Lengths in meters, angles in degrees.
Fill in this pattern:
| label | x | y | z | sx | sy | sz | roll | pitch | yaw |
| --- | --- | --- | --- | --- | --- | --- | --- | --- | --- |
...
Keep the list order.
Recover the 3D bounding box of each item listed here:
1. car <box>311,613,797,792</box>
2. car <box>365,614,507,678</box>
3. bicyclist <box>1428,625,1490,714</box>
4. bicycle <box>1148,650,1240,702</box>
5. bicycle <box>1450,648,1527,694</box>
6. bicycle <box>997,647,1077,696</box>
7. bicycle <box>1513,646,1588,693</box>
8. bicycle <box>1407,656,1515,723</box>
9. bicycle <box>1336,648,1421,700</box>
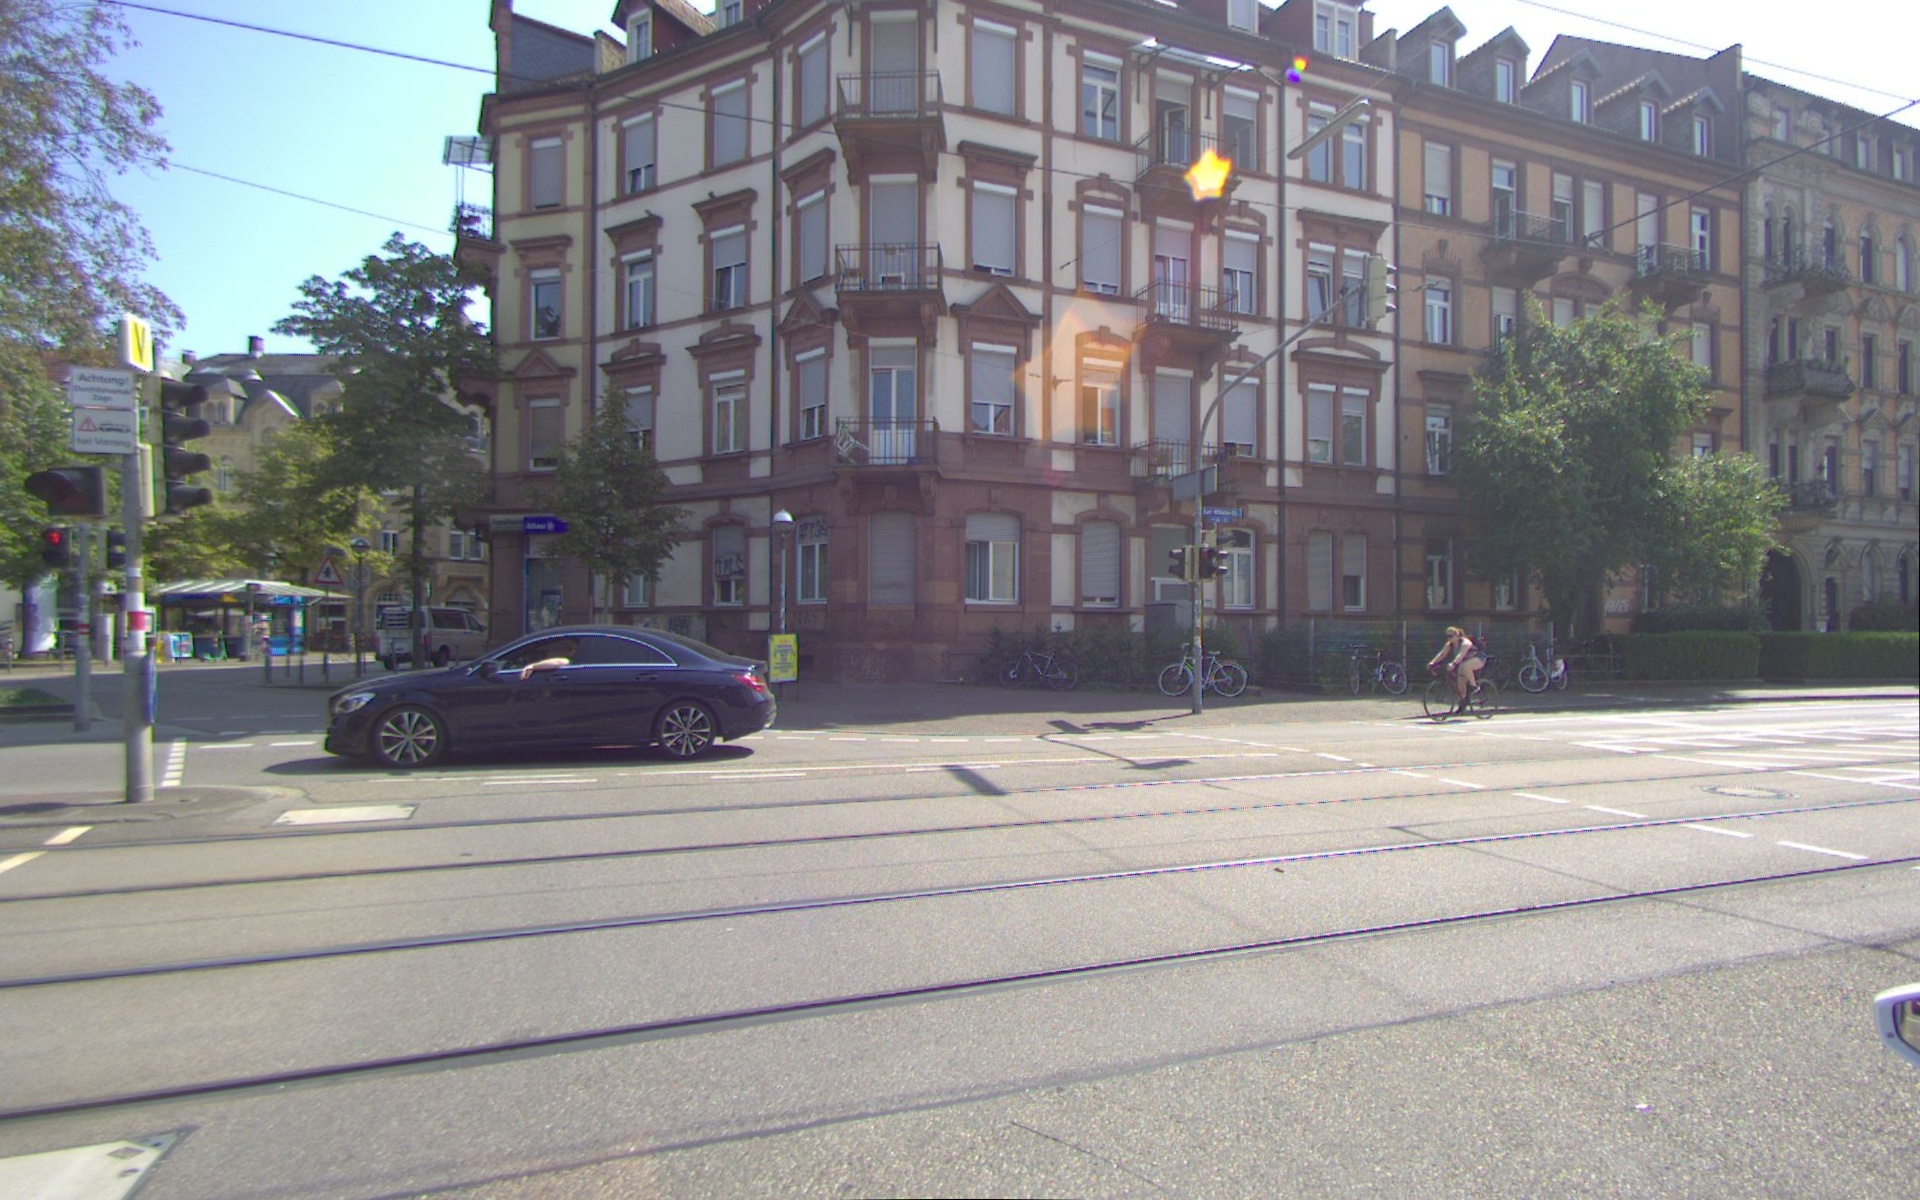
| label | x | y | z | sx | sy | sz | roll | pitch | yaw |
| --- | --- | --- | --- | --- | --- | --- | --- | --- | --- |
| car | -4.243 | 1.021 | 11.119 | 4.560 | 1.669 | 1.992 | 1 | -3 | -20 |
| car | -17.720 | 1.527 | 34.308 | 2.123 | 2.040 | 5.029 | 0 | -2 | 1 |
| bicyclist | 8.520 | 1.169 | 17.166 | 0.765 | 1.490 | 0.579 | 0 | -2 | -22 |
| bicycle | 4.748 | 1.538 | 20.422 | 1.793 | 1.010 | 0.489 | 0 | -1 | 17 |
| bicycle | 11.515 | 1.542 | 21.885 | 1.631 | 0.954 | 0.487 | 0 | -1 | -19 |
| bicycle | 1.638 | 1.504 | 21.381 | 1.645 | 1.010 | 0.395 | 0 | -1 | 17 |
| bicycle | 13.143 | 1.531 | 22.359 | 1.631 | 0.999 | 0.487 | 0 | -1 | -19 |
| bicycle | 8.575 | 1.510 | 17.183 | 1.816 | 1.080 | 0.579 | 0 | -2 | -22 |
| bicycle | 8.787 | 1.536 | 21.071 | 1.750 | 1.035 | 0.487 | 0 | -1 | -19 |
